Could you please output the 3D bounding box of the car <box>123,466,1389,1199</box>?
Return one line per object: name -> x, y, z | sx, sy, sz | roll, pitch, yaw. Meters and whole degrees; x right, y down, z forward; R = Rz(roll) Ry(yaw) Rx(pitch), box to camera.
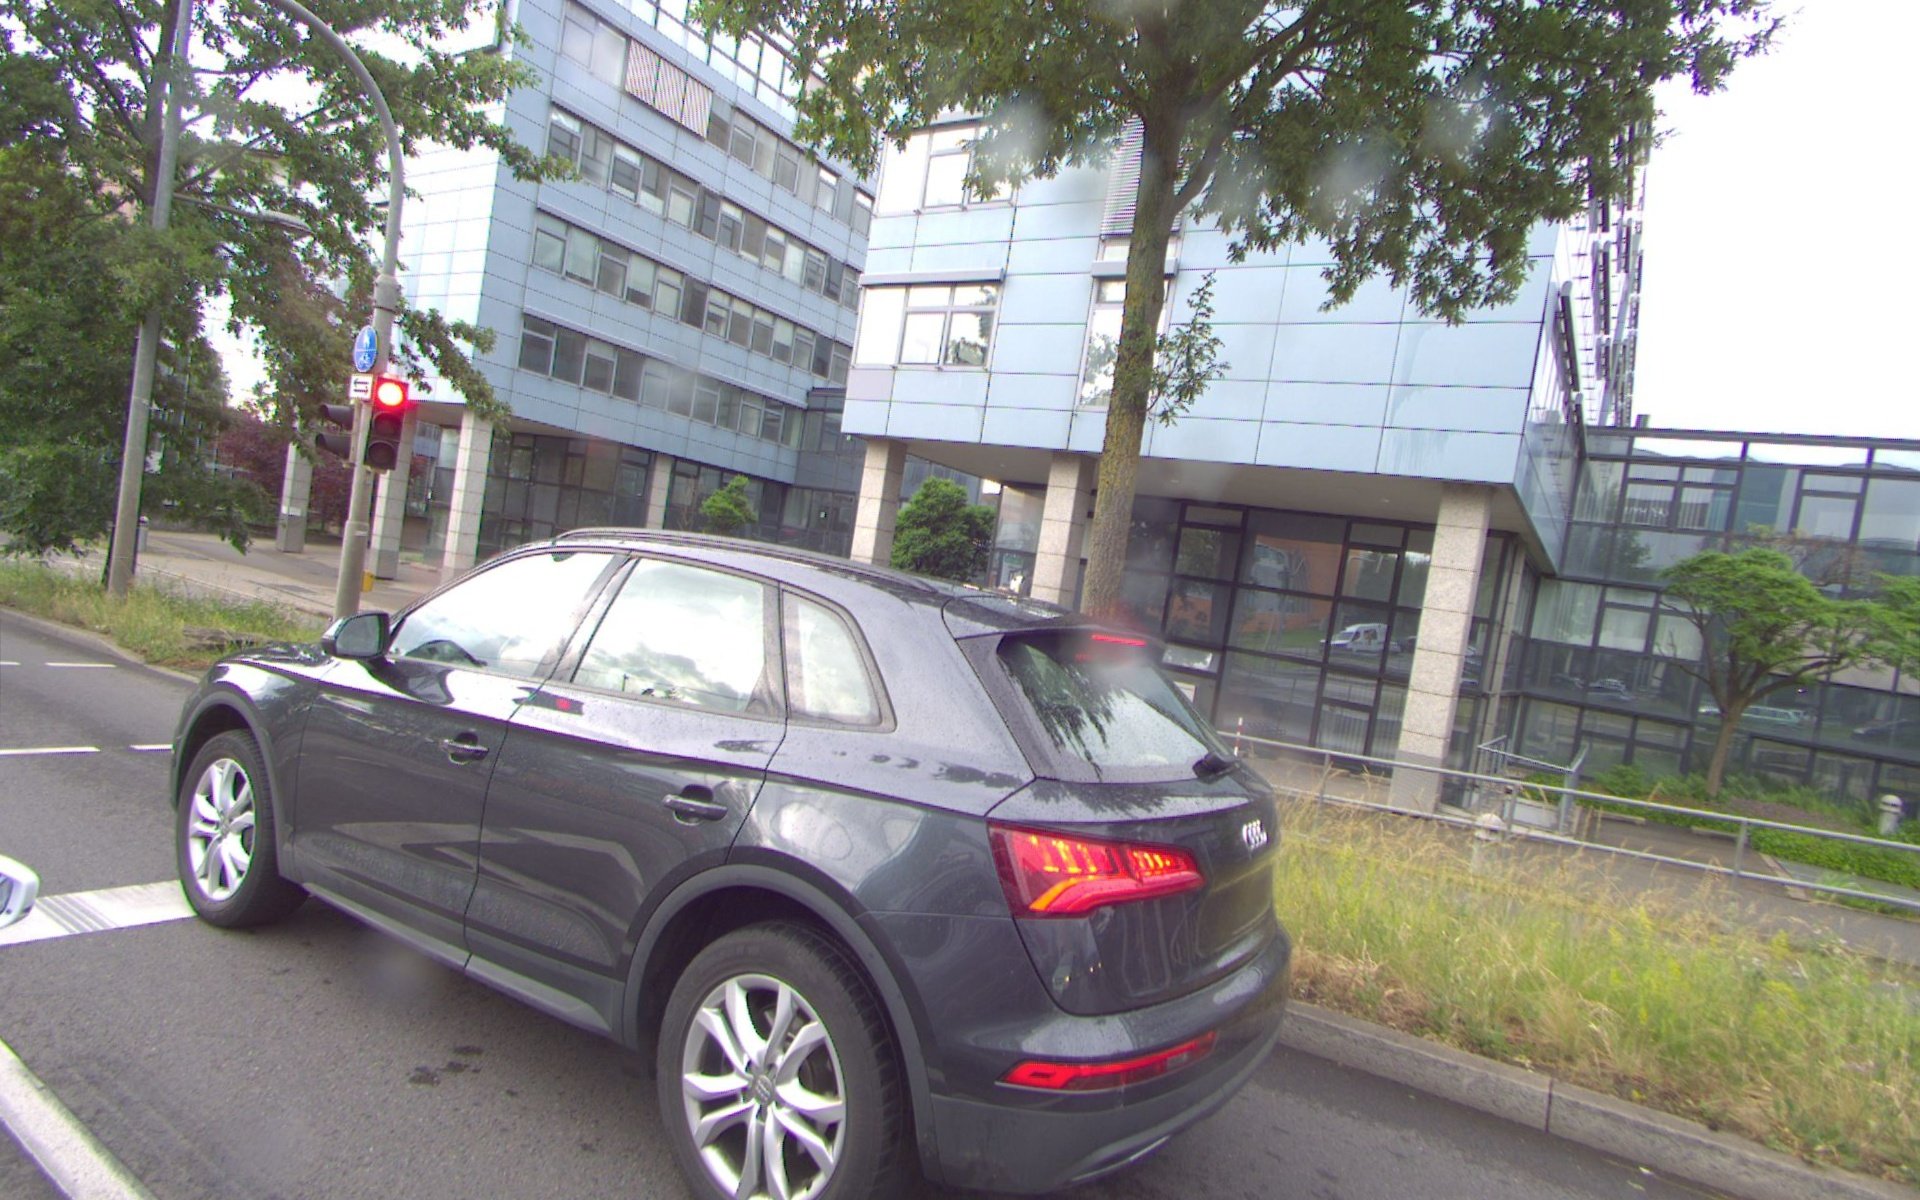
car -> -0.991, 0.572, 3.725 | 4.396, 1.632, 1.821 | 7, -1, 32
